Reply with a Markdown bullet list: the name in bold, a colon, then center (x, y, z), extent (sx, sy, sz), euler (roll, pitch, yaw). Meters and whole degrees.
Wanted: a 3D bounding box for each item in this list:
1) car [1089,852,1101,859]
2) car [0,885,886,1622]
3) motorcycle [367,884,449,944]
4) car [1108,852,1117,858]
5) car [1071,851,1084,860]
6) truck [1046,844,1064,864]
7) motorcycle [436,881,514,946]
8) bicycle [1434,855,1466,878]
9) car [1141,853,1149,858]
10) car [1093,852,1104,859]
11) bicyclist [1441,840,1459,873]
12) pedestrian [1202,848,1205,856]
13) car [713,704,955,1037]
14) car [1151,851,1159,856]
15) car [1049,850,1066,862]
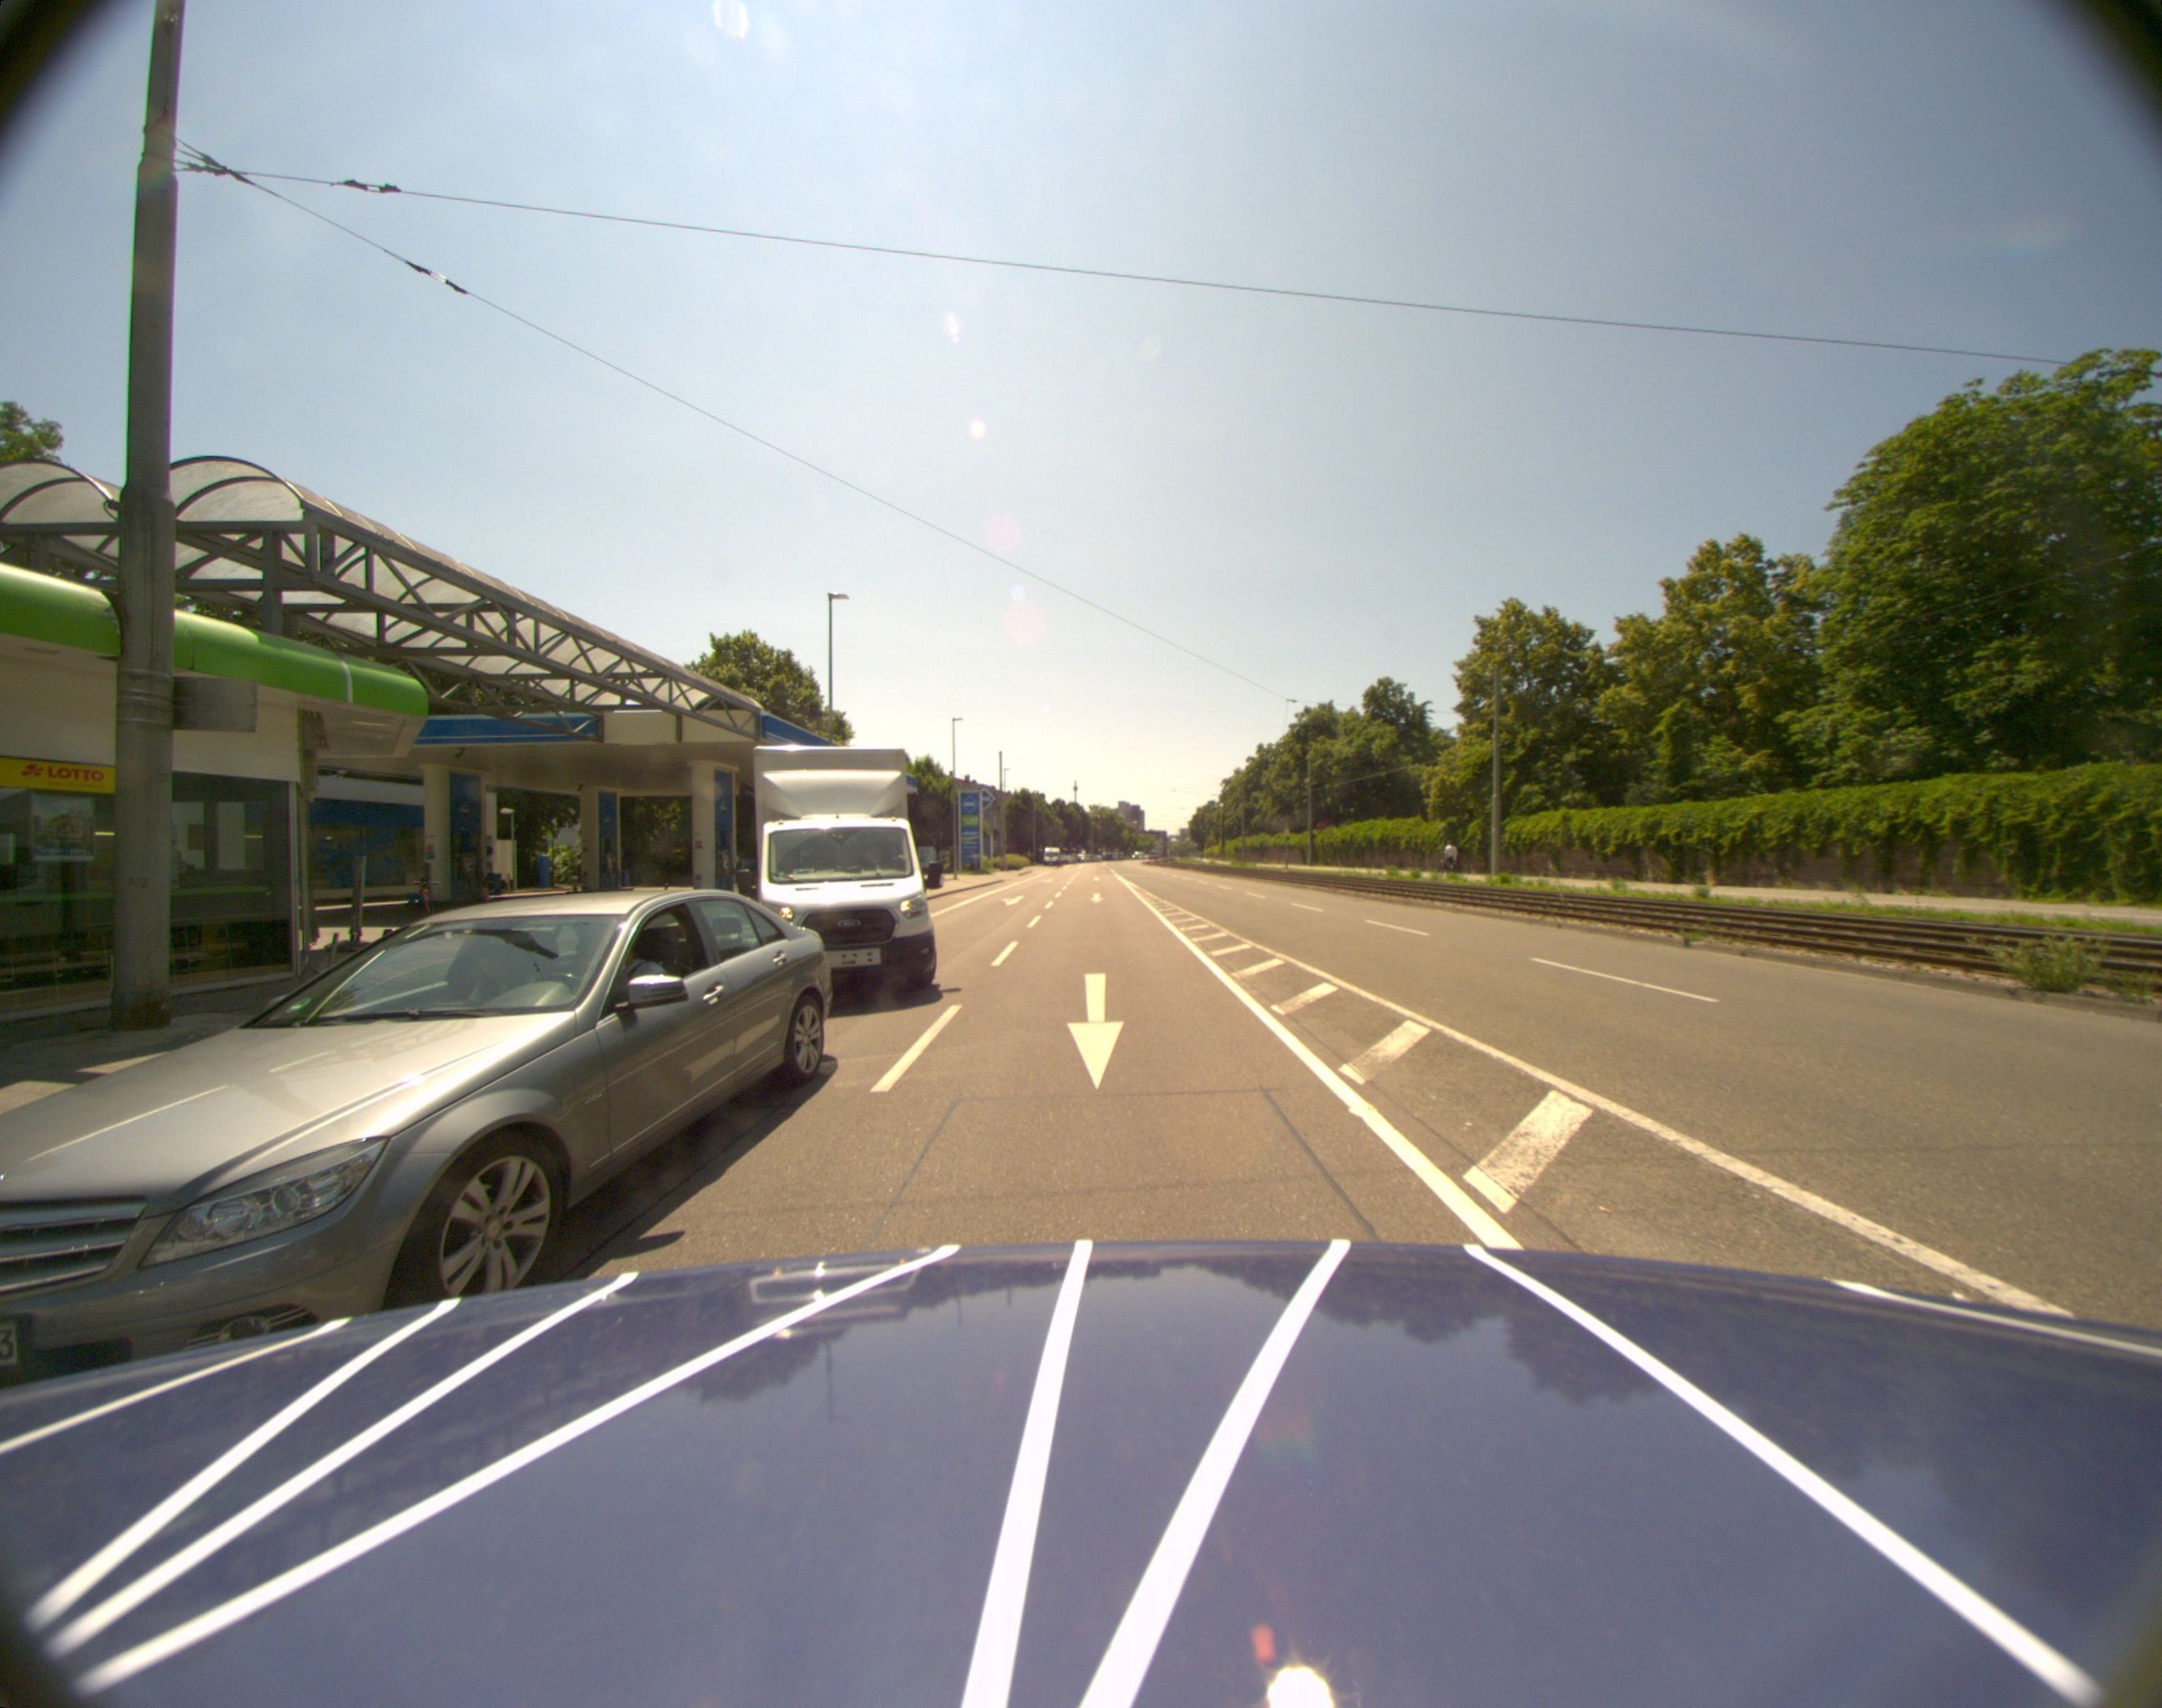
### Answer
- **car**: center (3.174, 0.384, 171.956), extent (1.911, 1.488, 4.002), euler (-2, 1, 10)
- **car**: center (-2.791, 1.054, 4.398), extent (1.717, 1.464, 5.302), euler (-3, 0, 2)
- **motorcycle**: center (-12.846, 1.143, 14.516), extent (1.157, 1.107, 0.396), euler (1, -1, -1)
- **car**: center (8.388, 0.326, 203.288), extent (1.911, 1.488, 4.002), euler (-2, 1, 10)
- **car**: center (-0.598, 0.224, 139.476), extent (1.912, 1.488, 4.001), euler (-2, 1, 4)
- **truck**: center (-3.439, -0.024, 101.525), extent (1.998, 2.462, 5.237), euler (-2, 1, 1)
- **motorcycle**: center (-11.591, 1.130, 14.551), extent (1.157, 1.203, 0.364), euler (1, -1, -1)
- **bicycle**: center (18.263, 0.622, 37.631), extent (0.618, 1.049, 1.978), euler (-2, 1, 0)
- **car**: center (20.497, 0.447, 243.956), extent (1.945, 1.674, 4.004), euler (-2, 1, 14)
- **car**: center (4.054, 0.293, 177.129), extent (1.911, 1.488, 4.002), euler (-2, 1, 10)
- **bicyclist**: center (18.225, 0.119, 37.495), extent (0.483, 1.603, 0.769), euler (-2, 1, 1)
- **pedestrian**: center (25.708, -0.391, 159.168), extent (0.453, 1.655, 0.302), euler (-2, 0, 1)
- **car**: center (-3.900, 0.145, 12.004), extent (2.232, 3.316, 8.622), euler (-3, 1, -19)
- **car**: center (20.556, -0.111, 210.556), extent (1.800, 1.488, 3.967), euler (-2, 0, 13)
- **car**: center (-3.352, 0.297, 108.571), extent (1.912, 1.488, 4.001), euler (-2, 1, 4)
